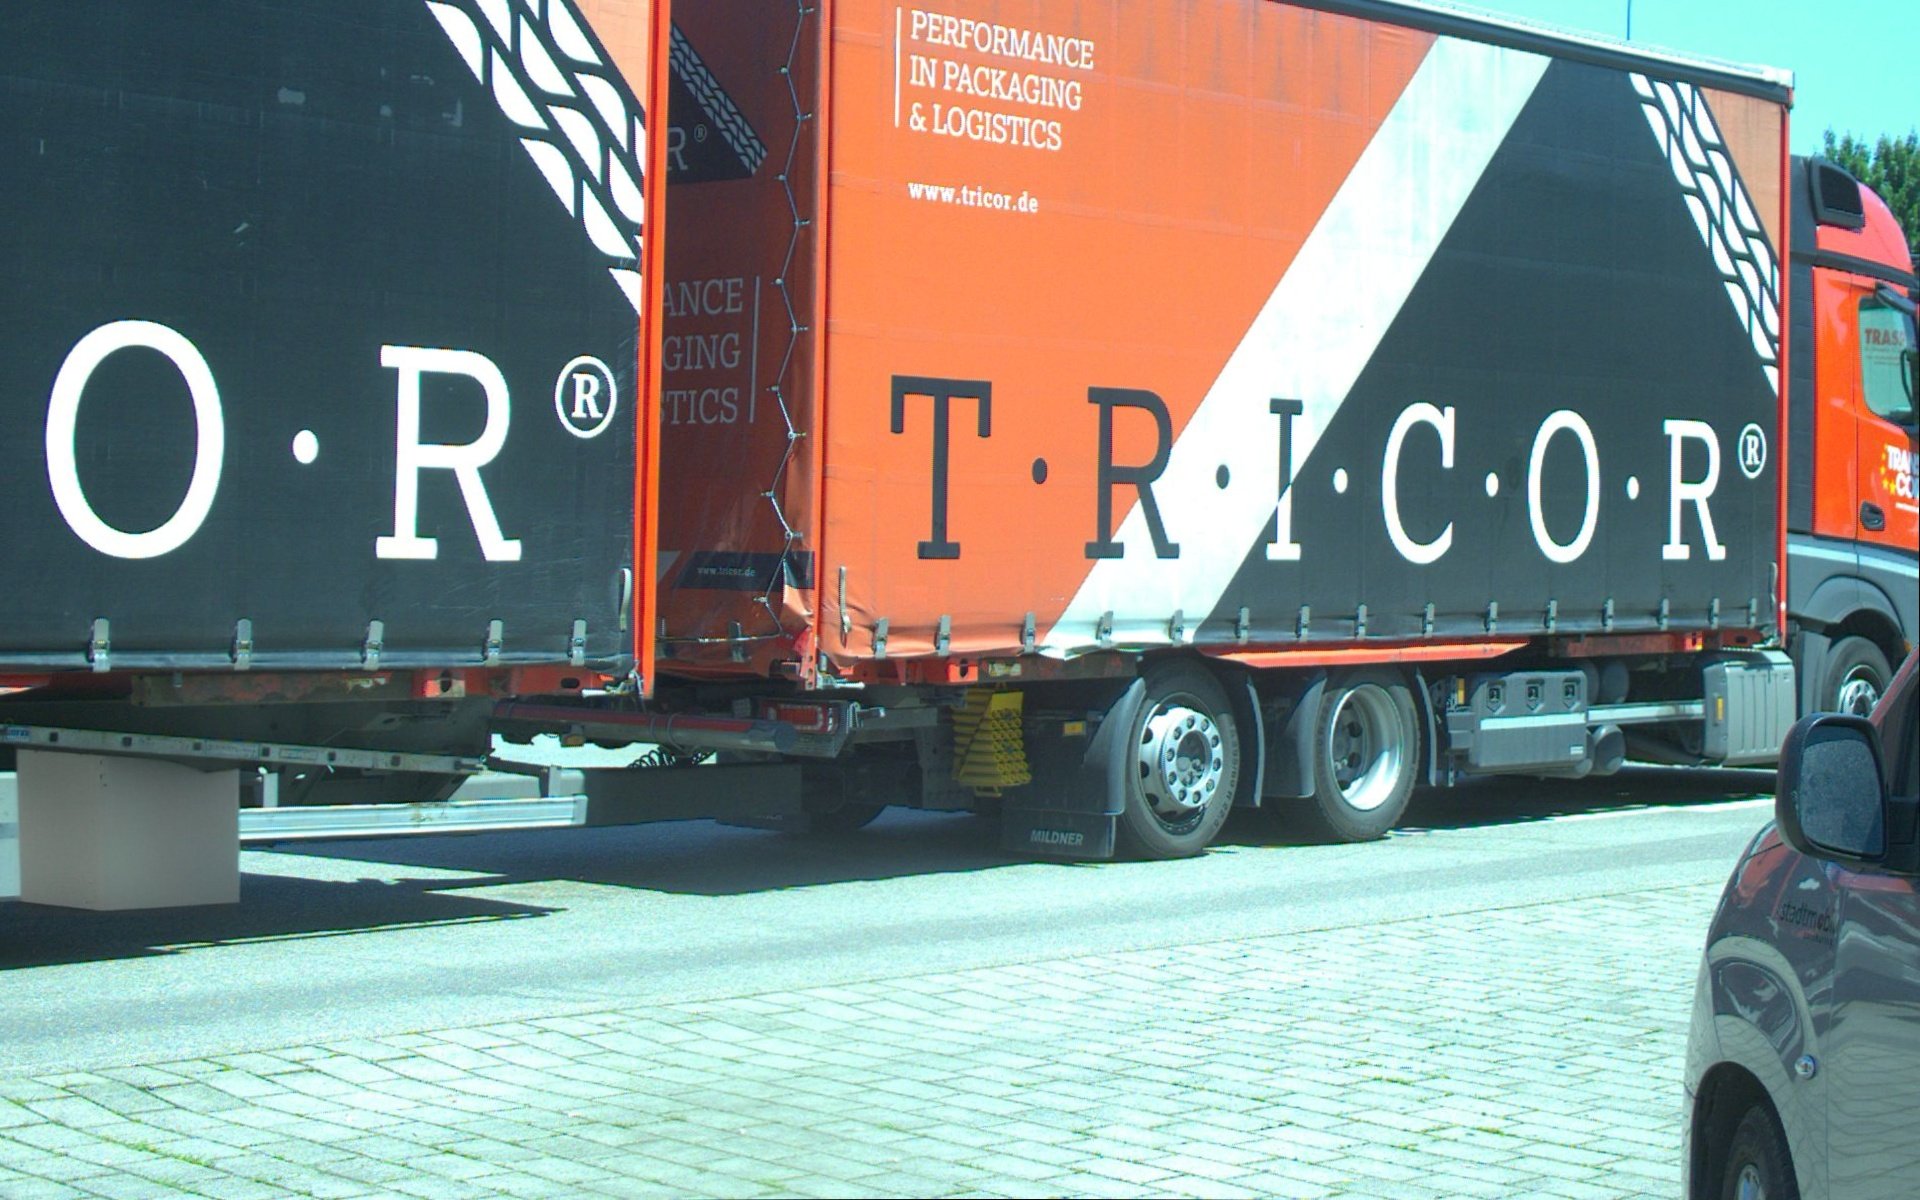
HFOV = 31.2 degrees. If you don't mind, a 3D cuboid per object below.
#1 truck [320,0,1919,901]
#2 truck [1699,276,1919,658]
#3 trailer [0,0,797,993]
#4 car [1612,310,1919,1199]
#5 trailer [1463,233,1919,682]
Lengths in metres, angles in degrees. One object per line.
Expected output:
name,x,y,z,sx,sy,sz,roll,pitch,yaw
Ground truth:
truck,1.815,-1.047,17.679,2.692,4.113,10.579,2,2,42
truck,11.748,-1.476,39.780,2.904,4.110,14.528,3,2,-1
trailer,-4.579,-0.950,10.648,2.841,4.243,8.664,2,2,42
car,2.141,0.540,3.771,1.825,1.747,4.001,1,2,-4
trailer,8.157,-1.537,38.450,2.876,4.110,13.572,1,2,-1
